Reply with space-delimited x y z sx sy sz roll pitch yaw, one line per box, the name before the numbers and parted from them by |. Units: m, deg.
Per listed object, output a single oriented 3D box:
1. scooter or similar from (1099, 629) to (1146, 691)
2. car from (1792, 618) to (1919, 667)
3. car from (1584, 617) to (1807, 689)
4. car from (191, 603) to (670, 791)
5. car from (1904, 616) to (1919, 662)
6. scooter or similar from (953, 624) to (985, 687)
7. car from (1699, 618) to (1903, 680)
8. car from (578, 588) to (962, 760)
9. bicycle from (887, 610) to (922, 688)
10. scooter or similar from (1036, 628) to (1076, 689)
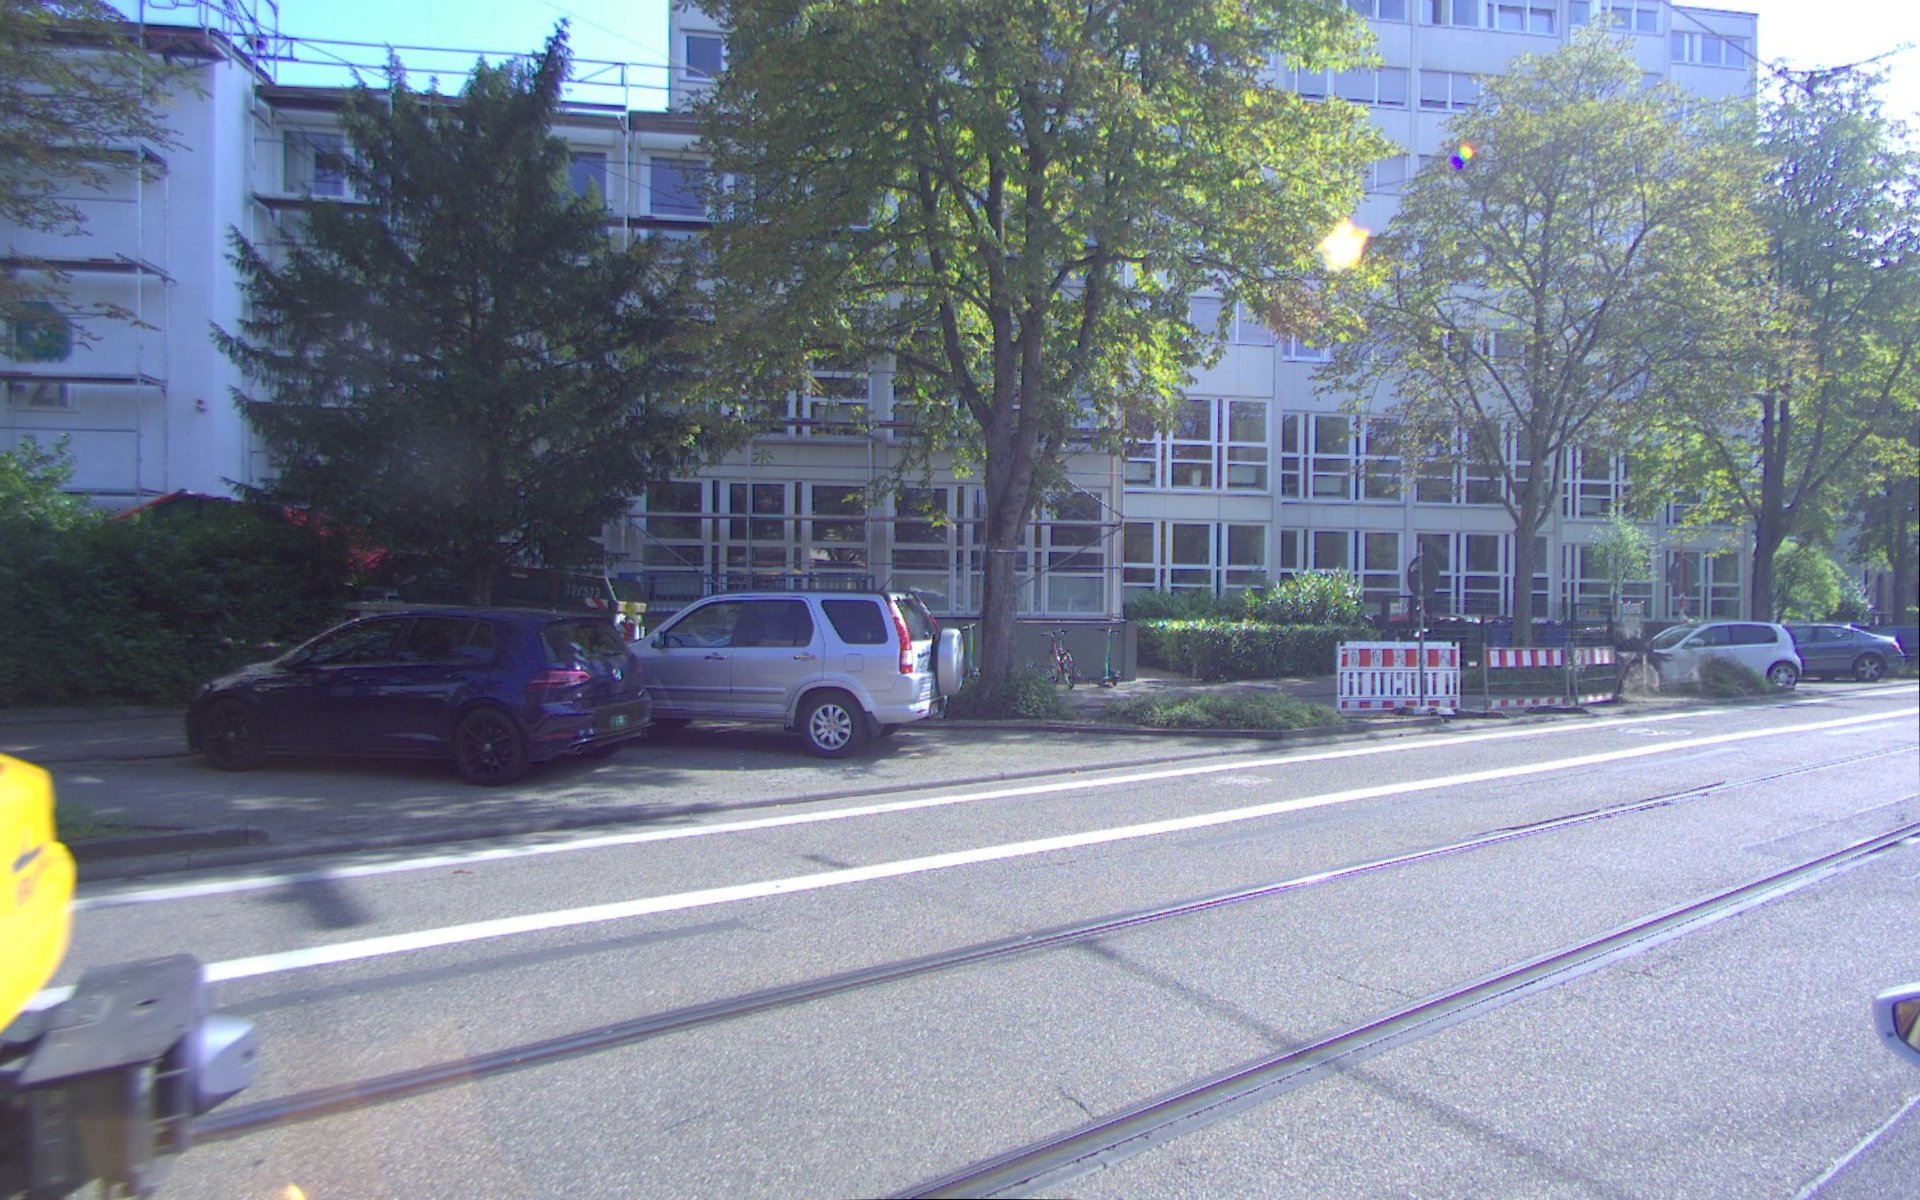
scooter or similar | 3.260 1.178 20.312 0.574 1.149 2.035 0 0 -1
car | 28.418 1.313 31.164 3.687 1.425 1.571 0 0 11
car | 16.152 1.139 22.209 3.687 1.462 1.571 0 0 7
car | -4.779 0.777 9.227 3.719 1.461 1.694 0 0 15
car | 37.396 1.451 36.708 3.929 1.662 1.688 0 0 30
scooter or similar | 0.159 1.075 20.088 0.574 1.149 2.035 0 0 -1
car | 21.397 1.226 25.691 3.687 1.462 1.571 0 0 11
car | -1.981 0.715 10.936 3.719 1.643 1.745 0 0 12
bicycle | -1.034 0.888 19.145 0.574 1.399 2.432 0 0 -1
scooter or similar | 1.947 1.168 20.529 0.574 1.149 2.035 0 0 -1
